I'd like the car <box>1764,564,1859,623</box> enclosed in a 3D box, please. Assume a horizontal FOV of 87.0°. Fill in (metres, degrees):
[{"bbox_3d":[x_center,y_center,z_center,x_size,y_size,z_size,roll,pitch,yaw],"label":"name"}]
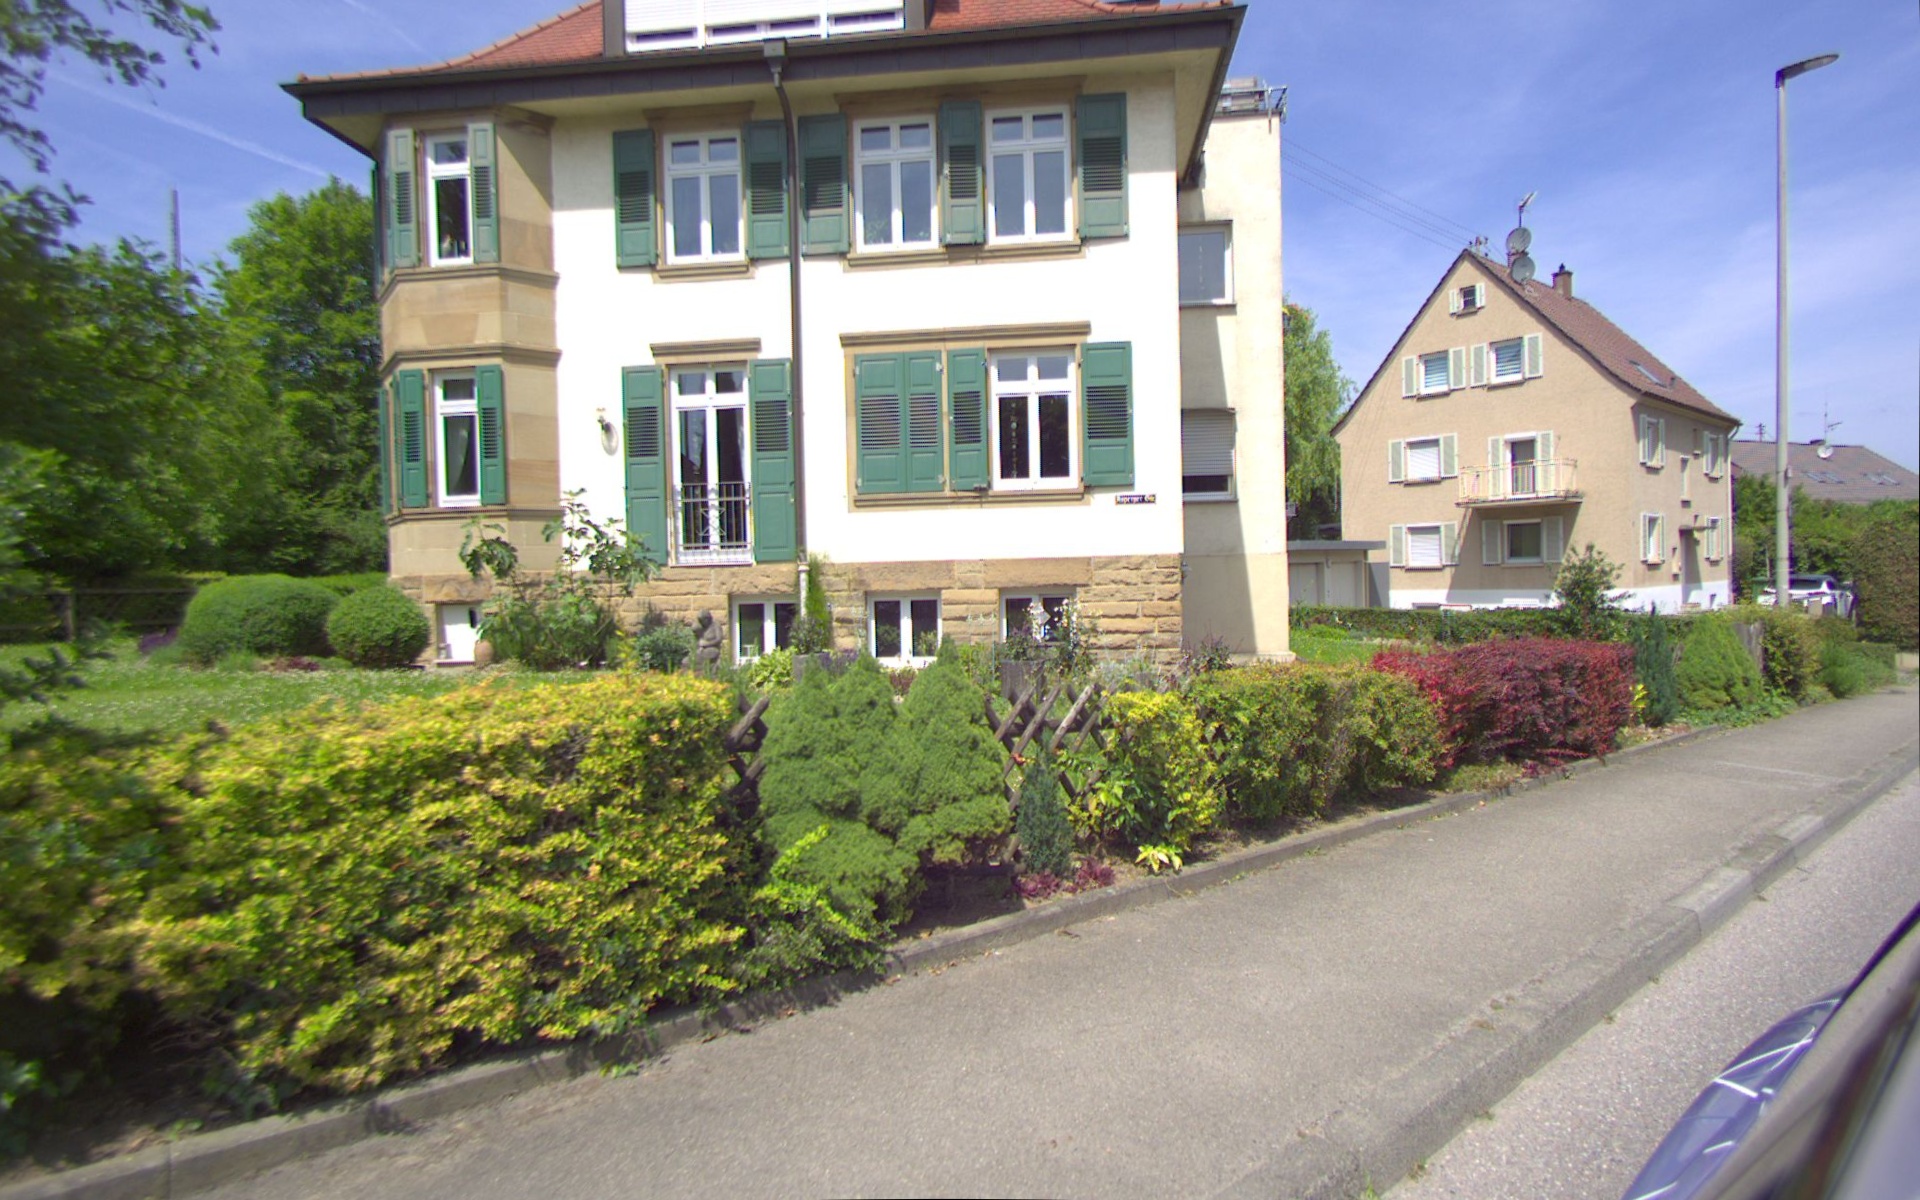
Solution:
[{"bbox_3d":[24.841,-0.228,29.498,3.499,1.500,1.608,-4,3,-41],"label":"car"}]
